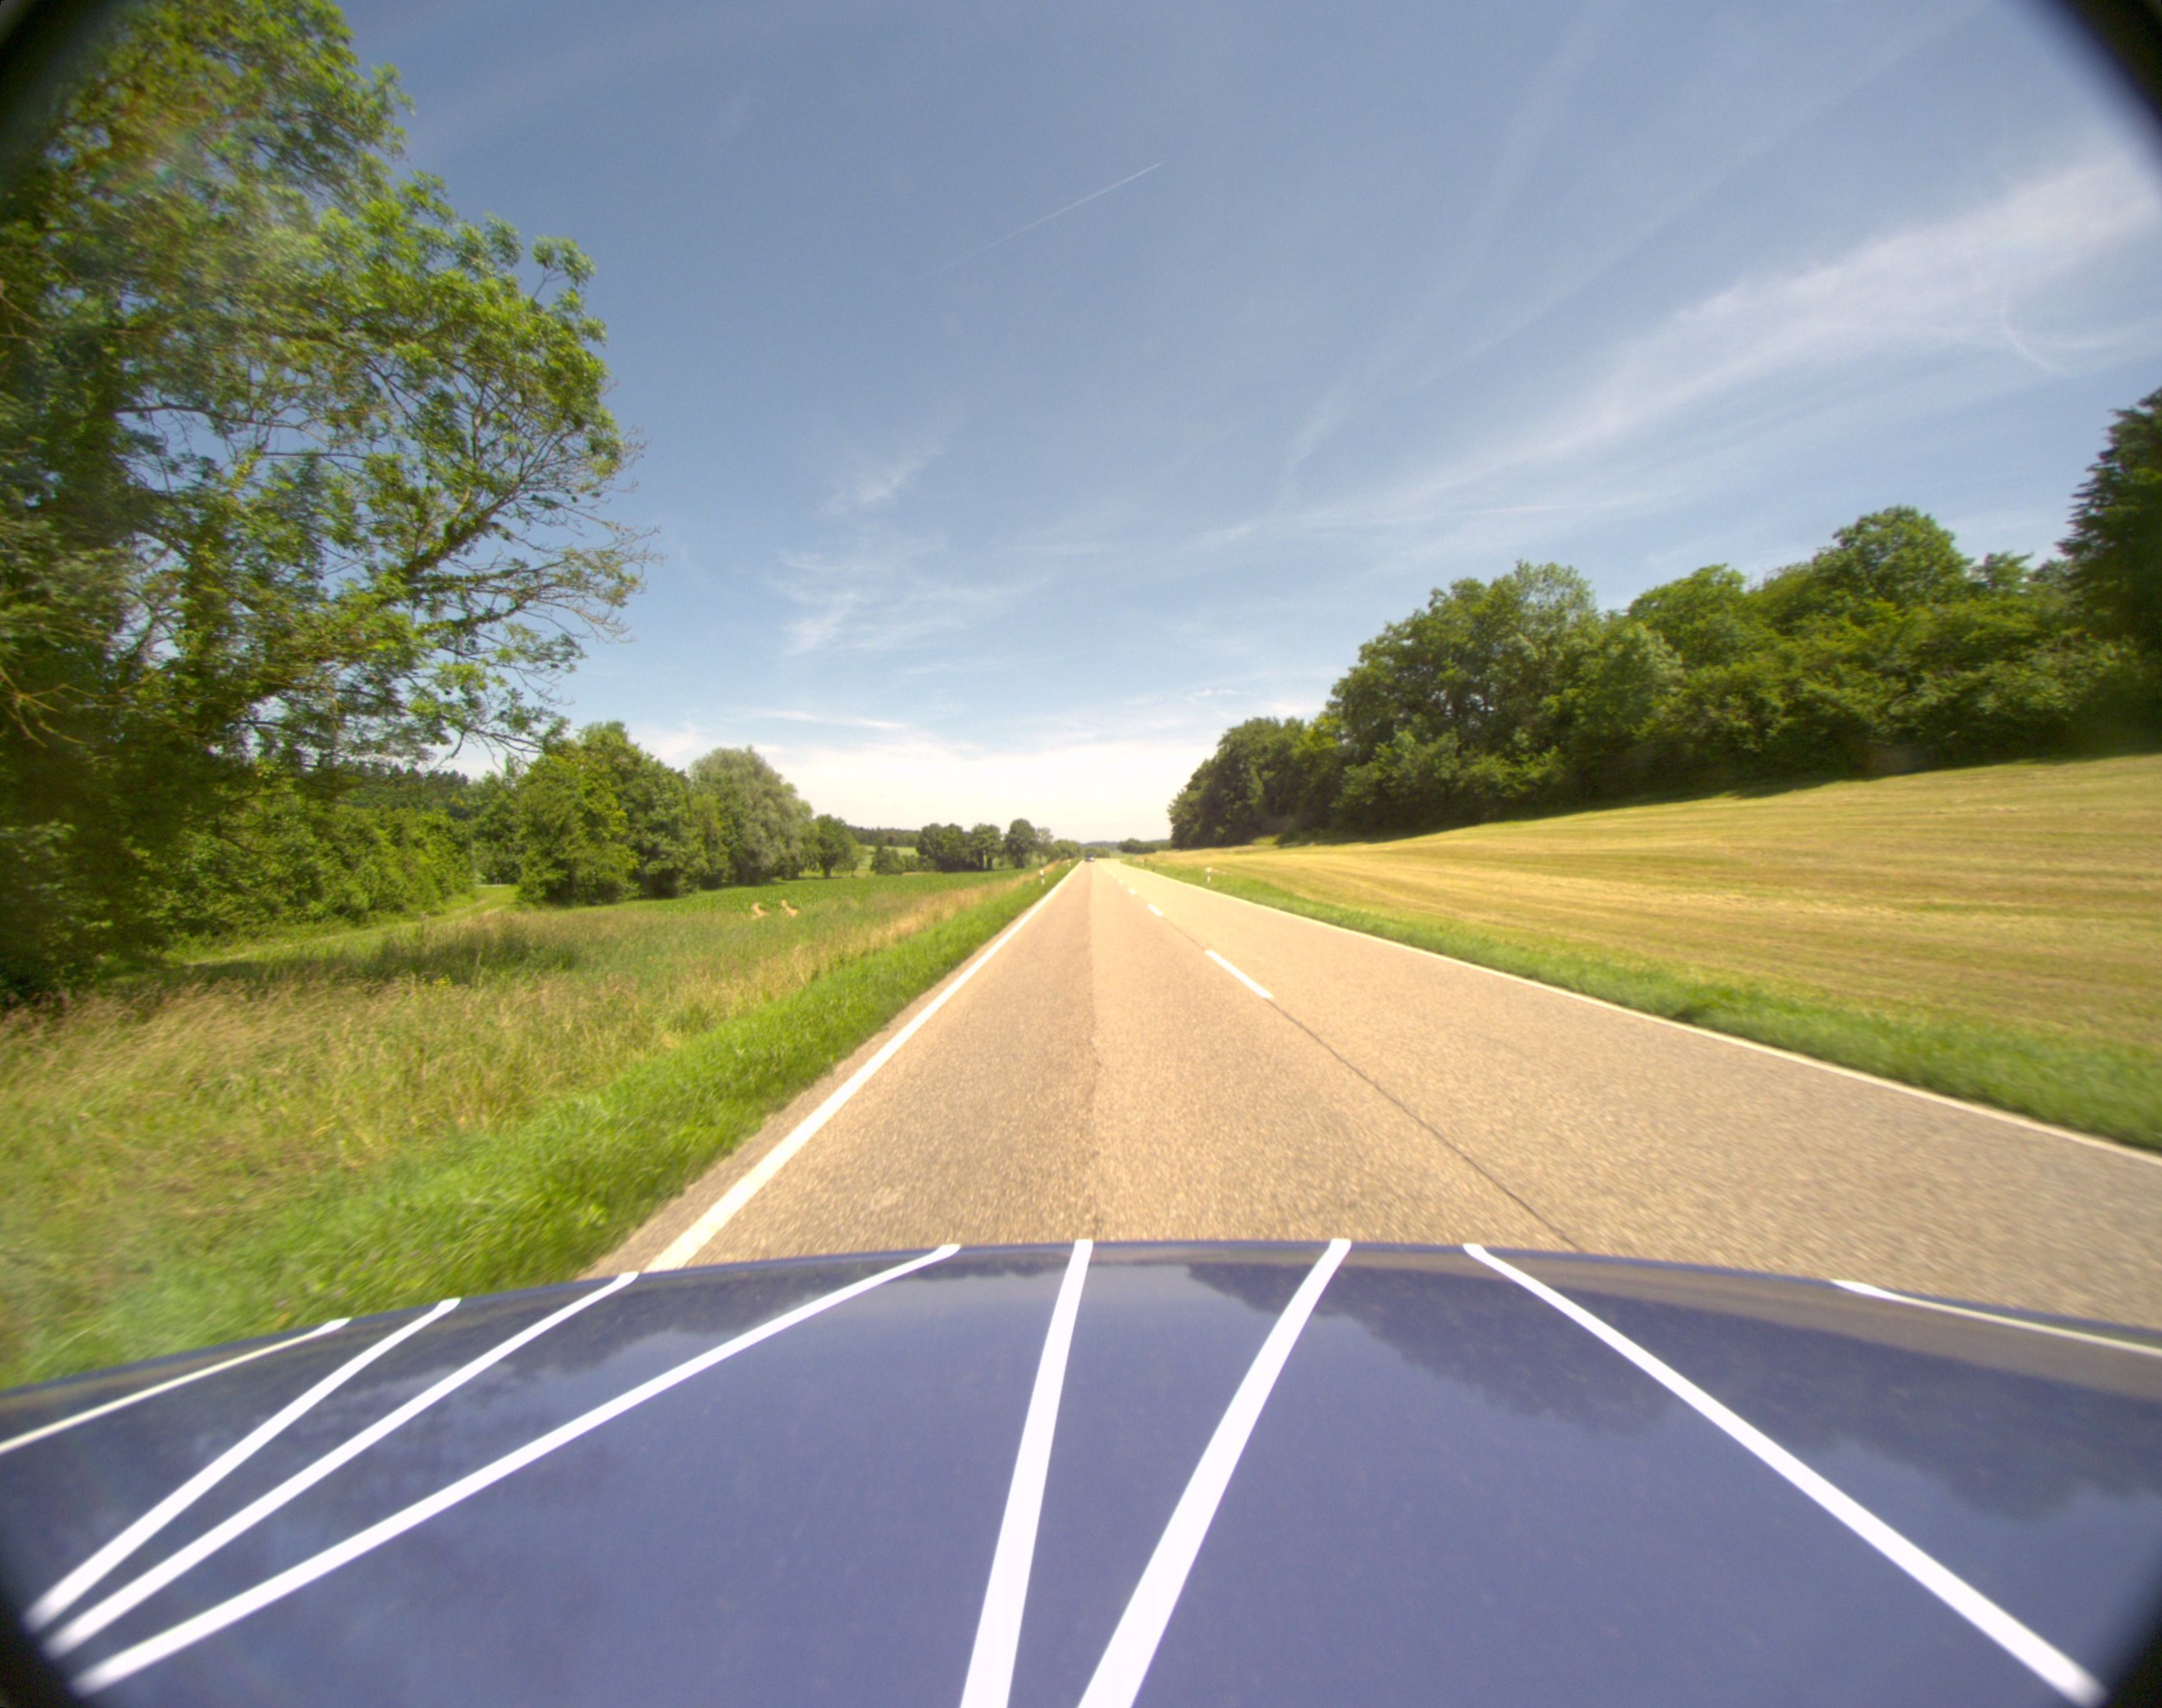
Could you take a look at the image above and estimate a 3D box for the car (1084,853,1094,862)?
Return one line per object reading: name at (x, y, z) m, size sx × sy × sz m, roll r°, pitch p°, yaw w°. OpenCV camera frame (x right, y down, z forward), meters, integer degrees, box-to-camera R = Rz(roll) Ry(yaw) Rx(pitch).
car at (1.526, 0.685, 149.823) m, size 1.815 × 1.569 × 4.156 m, roll -2°, pitch -3°, yaw 1°
